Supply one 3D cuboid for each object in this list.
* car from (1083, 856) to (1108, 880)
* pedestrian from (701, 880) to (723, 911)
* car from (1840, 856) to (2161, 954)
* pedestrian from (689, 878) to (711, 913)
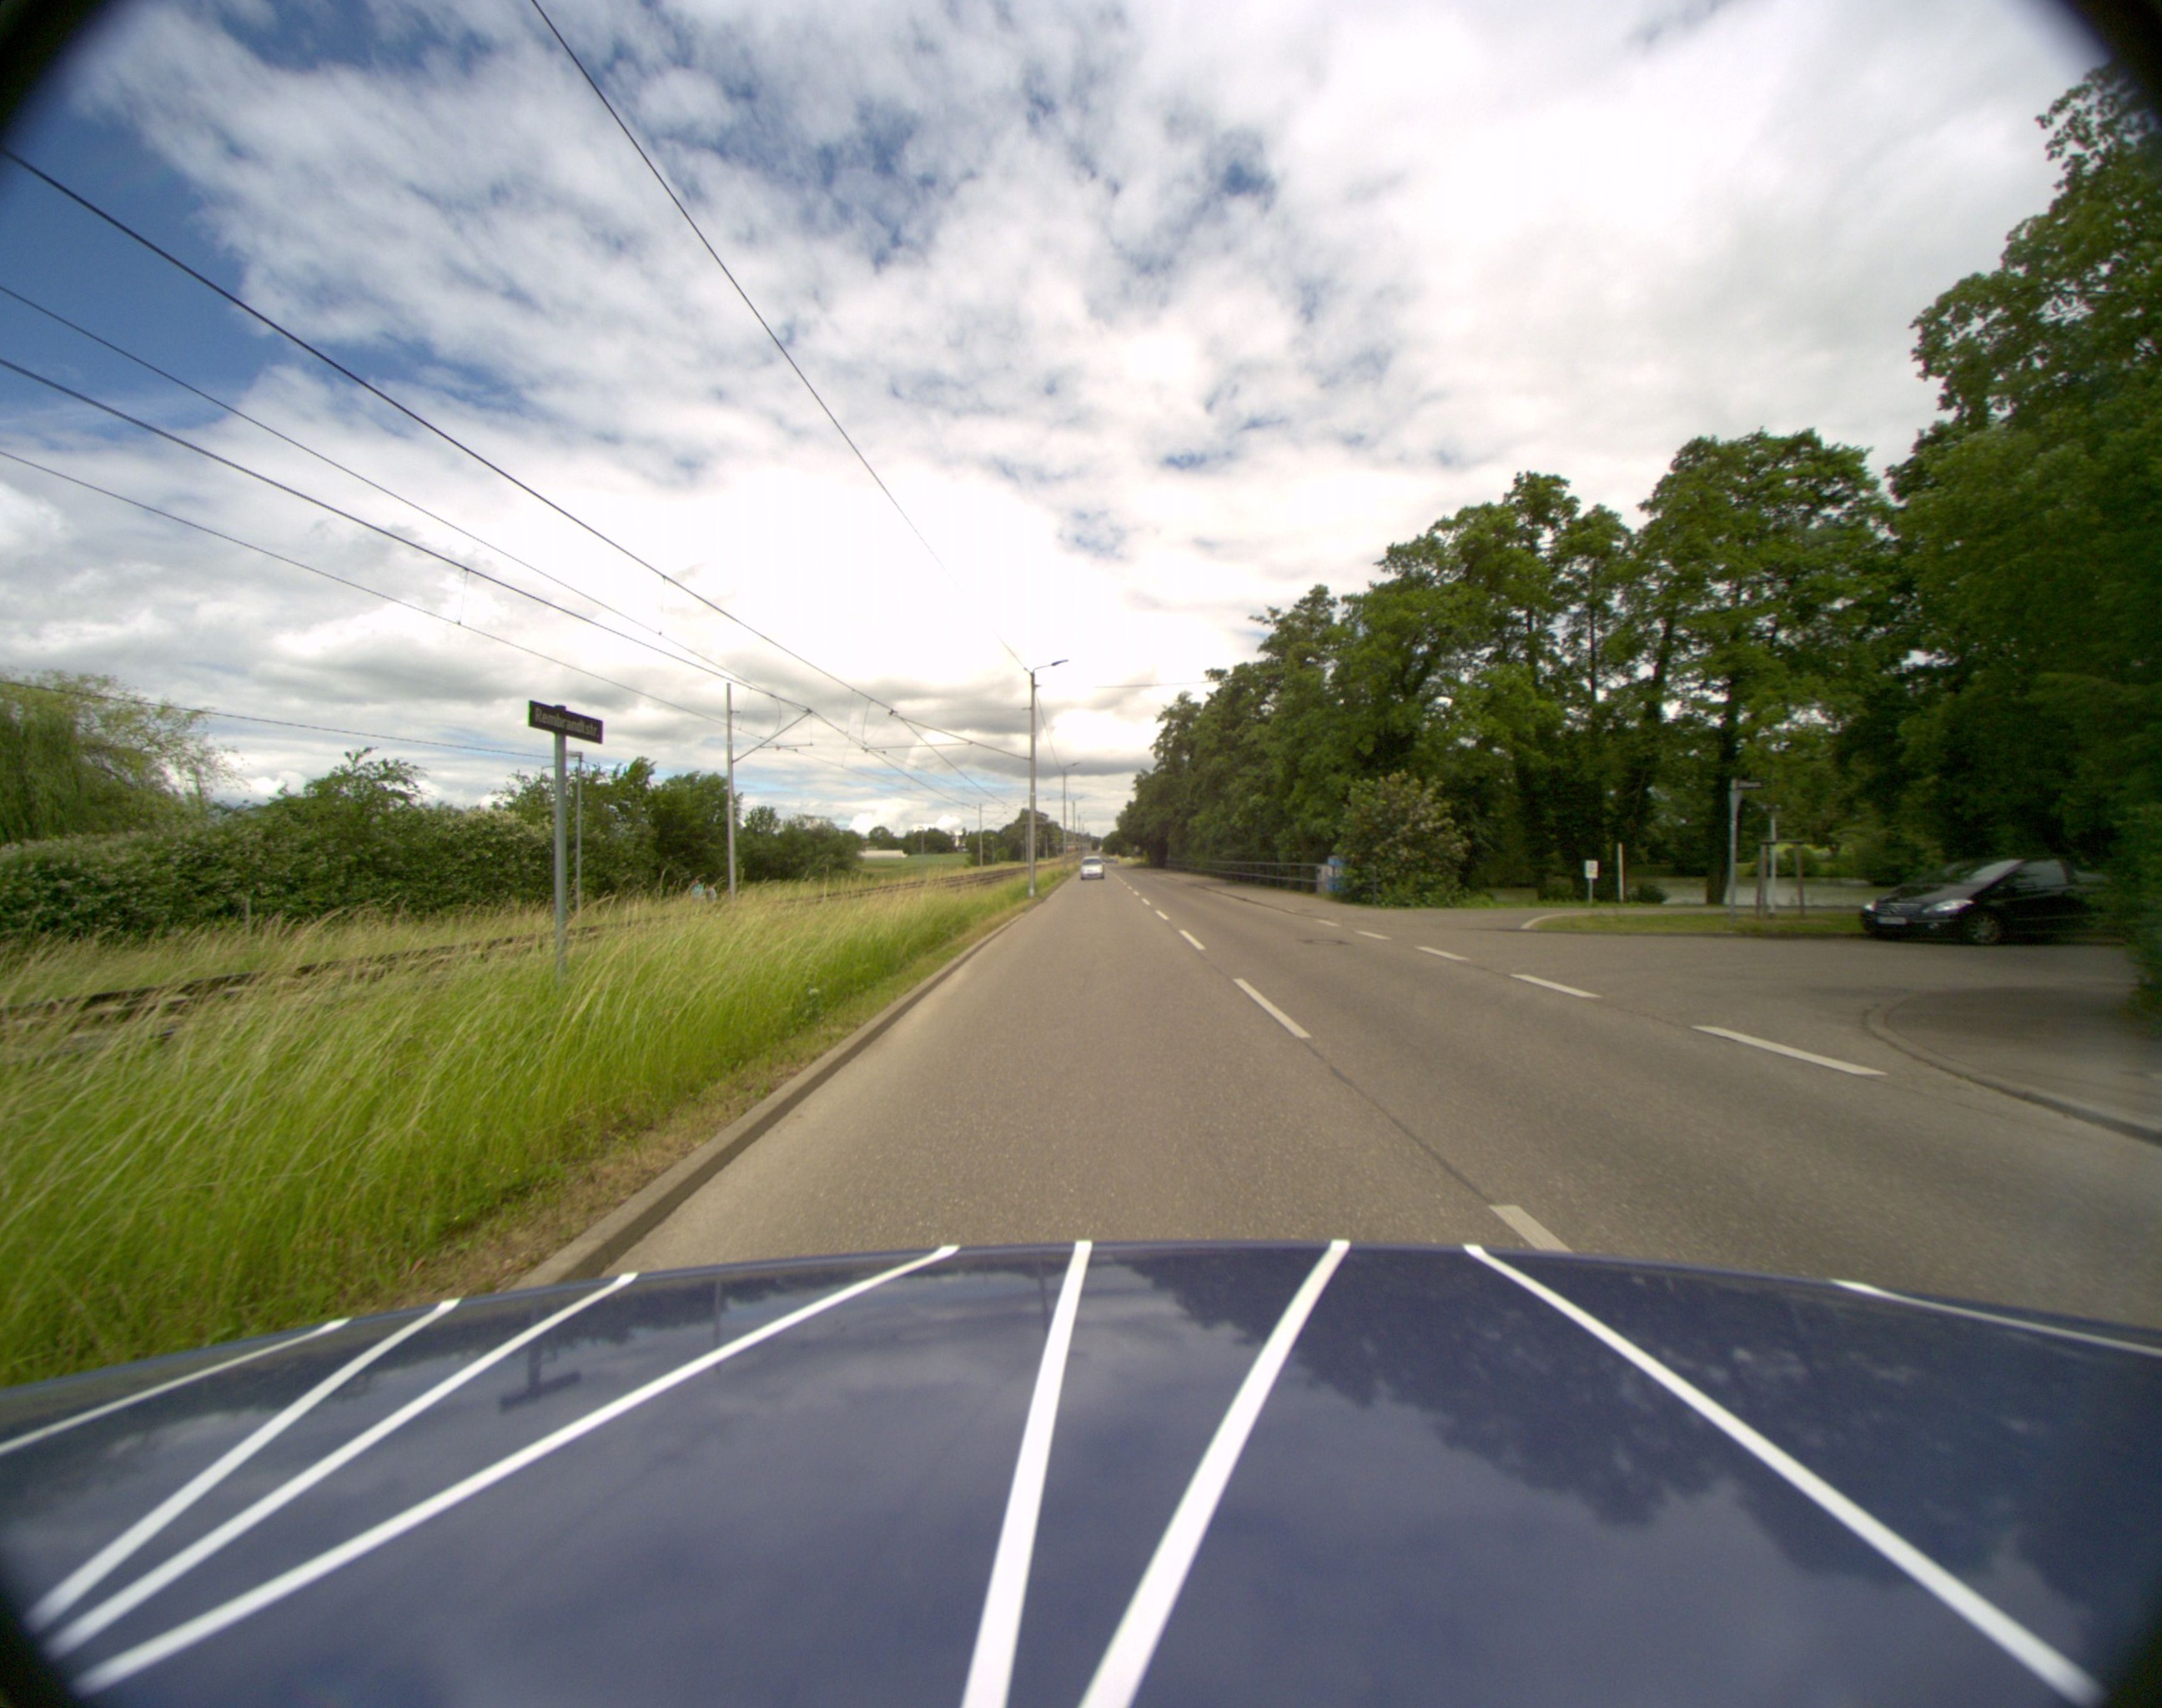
[{"bbox_3d":[1.017,0.953,53.194,1.643,1.510,3.869,-2,1,1],"label":"car"},{"bbox_3d":[-17.409,1.955,35.887,0.599,1.422,0.667,-2,1,10],"label":"pedestrian"},{"bbox_3d":[16.730,0.878,13.694,3.995,1.611,1.969,-1,-1,4],"label":"car"},{"bbox_3d":[-18.088,1.966,36.069,0.617,1.613,0.584,-2,1,9],"label":"pedestrian"}]
